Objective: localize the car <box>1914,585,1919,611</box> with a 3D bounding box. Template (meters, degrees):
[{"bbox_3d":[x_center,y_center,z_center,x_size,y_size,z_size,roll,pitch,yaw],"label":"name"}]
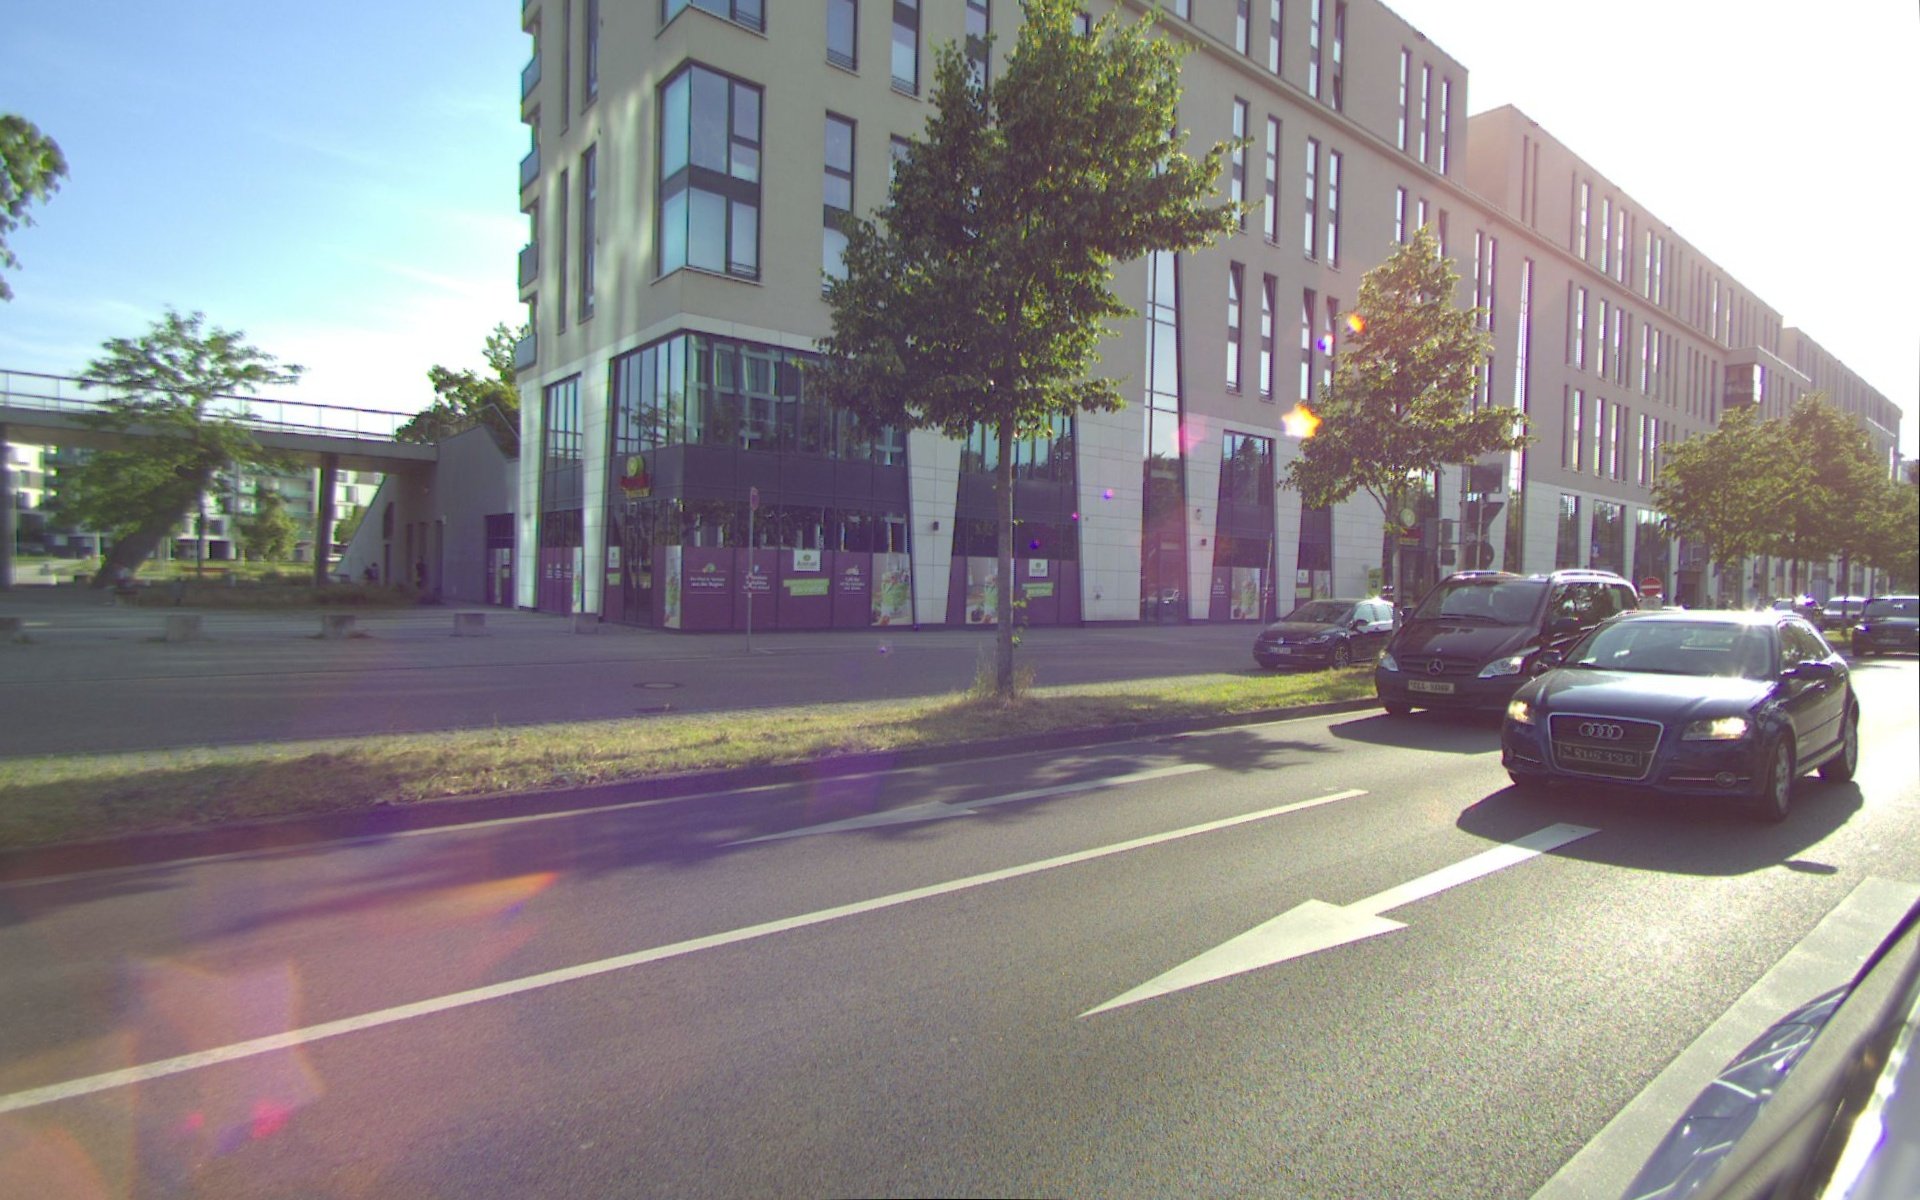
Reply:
[{"bbox_3d":[72.398,-0.183,75.179,4.946,1.899,1.840,-1,0,-42],"label":"car"}]

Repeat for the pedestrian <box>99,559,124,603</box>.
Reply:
[{"bbox_3d":[-25.732,-0.562,30.709,0.571,1.310,0.597,0,0,-39],"label":"pedestrian"}]

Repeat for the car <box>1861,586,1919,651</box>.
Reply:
[{"bbox_3d":[29.591,0.527,31.368,4.694,1.890,1.863,-1,0,-40],"label":"car"}]

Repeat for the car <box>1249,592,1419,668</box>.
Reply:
[{"bbox_3d":[7.706,0.539,20.667,4.087,1.388,1.608,-1,1,-43],"label":"car"}]

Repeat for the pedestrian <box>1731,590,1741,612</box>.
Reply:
[{"bbox_3d":[54.905,0.061,71.641,0.536,1.594,0.508,0,0,36],"label":"pedestrian"}]

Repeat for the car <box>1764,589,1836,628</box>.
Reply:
[{"bbox_3d":[39.124,0.397,47.084,4.596,1.730,1.900,1,0,-41],"label":"car"}]

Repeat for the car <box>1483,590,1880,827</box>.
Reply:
[{"bbox_3d":[6.020,0.662,8.272,3.965,1.453,1.754,-1,1,-41],"label":"car"}]

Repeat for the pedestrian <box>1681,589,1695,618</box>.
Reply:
[{"bbox_3d":[44.837,0.222,62.341,0.635,1.785,0.538,0,0,-39],"label":"pedestrian"}]

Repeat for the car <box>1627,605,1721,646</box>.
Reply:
[{"bbox_3d":[24.092,0.817,34.126,3.837,1.258,1.711,-1,1,-41],"label":"car"}]

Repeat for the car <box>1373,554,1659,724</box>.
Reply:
[{"bbox_3d":[7.608,0.405,13.631,4.736,1.915,1.802,-1,0,-40],"label":"car"}]

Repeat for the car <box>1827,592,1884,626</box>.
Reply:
[{"bbox_3d":[48.566,0.435,54.846,4.222,1.733,1.830,-1,0,-42],"label":"car"}]

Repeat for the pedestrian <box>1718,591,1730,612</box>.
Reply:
[{"bbox_3d":[54.495,0.097,72.180,0.587,1.541,0.514,0,0,-40],"label":"pedestrian"}]
